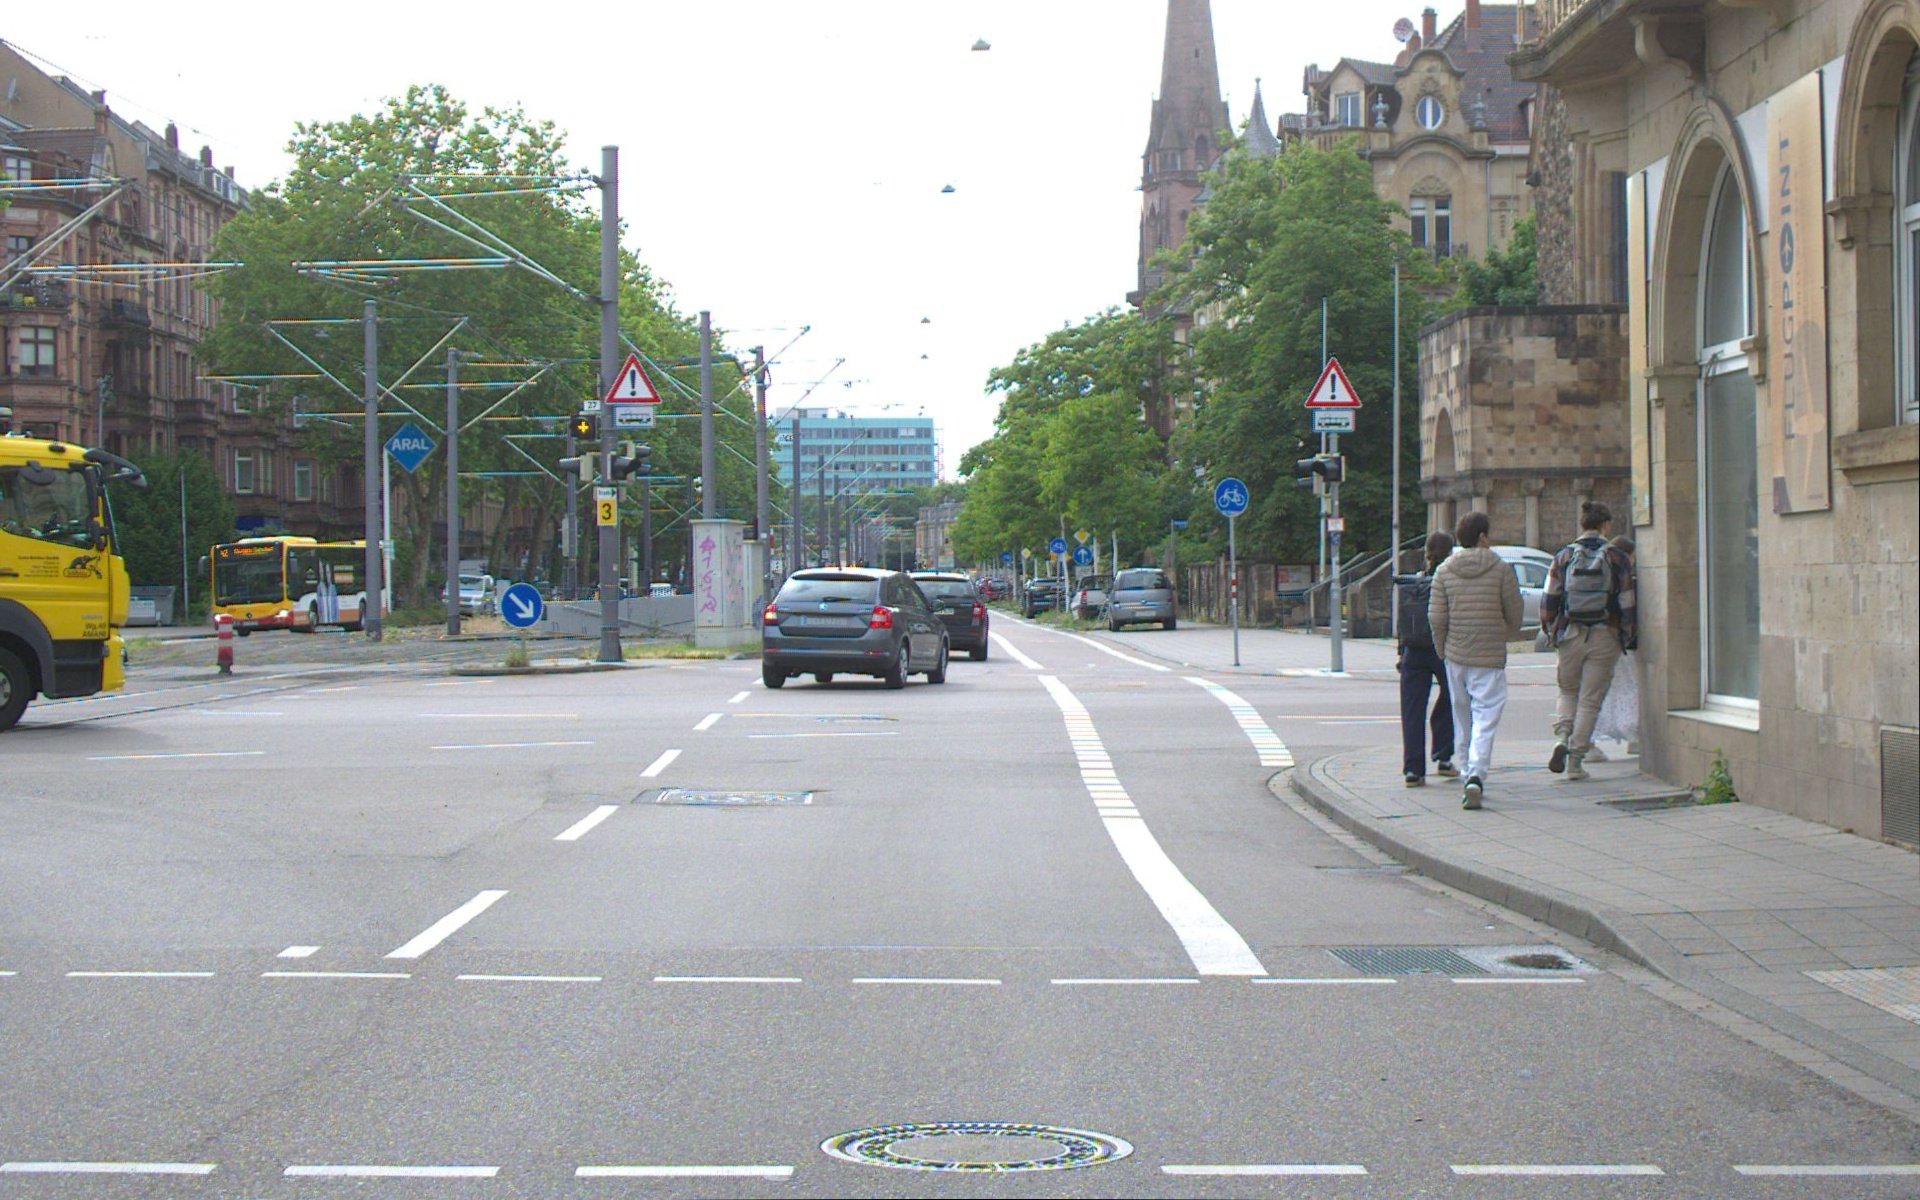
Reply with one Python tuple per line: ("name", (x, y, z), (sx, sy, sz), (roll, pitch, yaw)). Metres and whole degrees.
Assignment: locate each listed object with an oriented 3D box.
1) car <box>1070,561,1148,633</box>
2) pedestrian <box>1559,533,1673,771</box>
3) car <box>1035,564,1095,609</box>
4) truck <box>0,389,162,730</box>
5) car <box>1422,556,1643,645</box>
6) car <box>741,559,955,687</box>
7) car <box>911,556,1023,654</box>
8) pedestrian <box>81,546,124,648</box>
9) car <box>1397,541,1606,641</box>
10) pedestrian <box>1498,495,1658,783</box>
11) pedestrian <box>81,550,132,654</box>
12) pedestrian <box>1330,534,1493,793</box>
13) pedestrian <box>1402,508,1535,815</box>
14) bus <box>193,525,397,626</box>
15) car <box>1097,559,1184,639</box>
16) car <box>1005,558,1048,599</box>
("car", (4.289, -0.101, 99.684), (1.993, 2.007, 4.000), (1, 0, -1))
("pedestrian", (4.484, 0.345, 23.533), (0.700, 1.587, 0.831), (1, 0, 8))
("car", (3.914, -0.495, 128.497), (1.993, 1.602, 4.164), (-2, 0, -1))
("truck", (-11.961, -0.369, 28.565), (10.148, 2.931, 2.637), (0, 1, -36))
("car", (10.774, -0.002, 64.920), (3.799, 1.595, 2.000), (1, 0, 0))
("car", (-1.311, 0.263, 42.055), (1.836, 1.464, 3.991), (1, 0, 10))
("car", (0.088, 0.069, 58.279), (1.806, 1.581, 4.341), (1, 0, -1))
("pedestrian", (-13.000, -0.052, 52.137), (0.545, 1.532, 0.466), (1, 0, -5))
("car", (10.738, -0.174, 68.330), (3.799, 1.897, 2.000), (1, 0, 0))
("pedestrian", (3.952, 0.239, 21.949), (0.627, 1.772, 1.132), (-3, -1, 26))
("pedestrian", (-12.803, 0.030, 51.564), (0.653, 1.532, 0.466), (1, 0, -5))
("pedestrian", (2.961, 0.404, 22.515), (0.627, 1.647, 0.994), (1, 0, 37))
("pedestrian", (3.103, 0.363, 20.925), (0.583, 1.807, 1.014), (1, 0, 19))
("bus", (-21.669, -0.794, 112.982), (3.085, 3.101, 13.092), (1, 0, 5))
("car", (4.697, -0.038, 89.983), (1.993, 2.007, 4.000), (1, 0, -1))
("car", (3.311, -1.084, 172.318), (1.993, 2.007, 4.000), (1, 0, -1))
